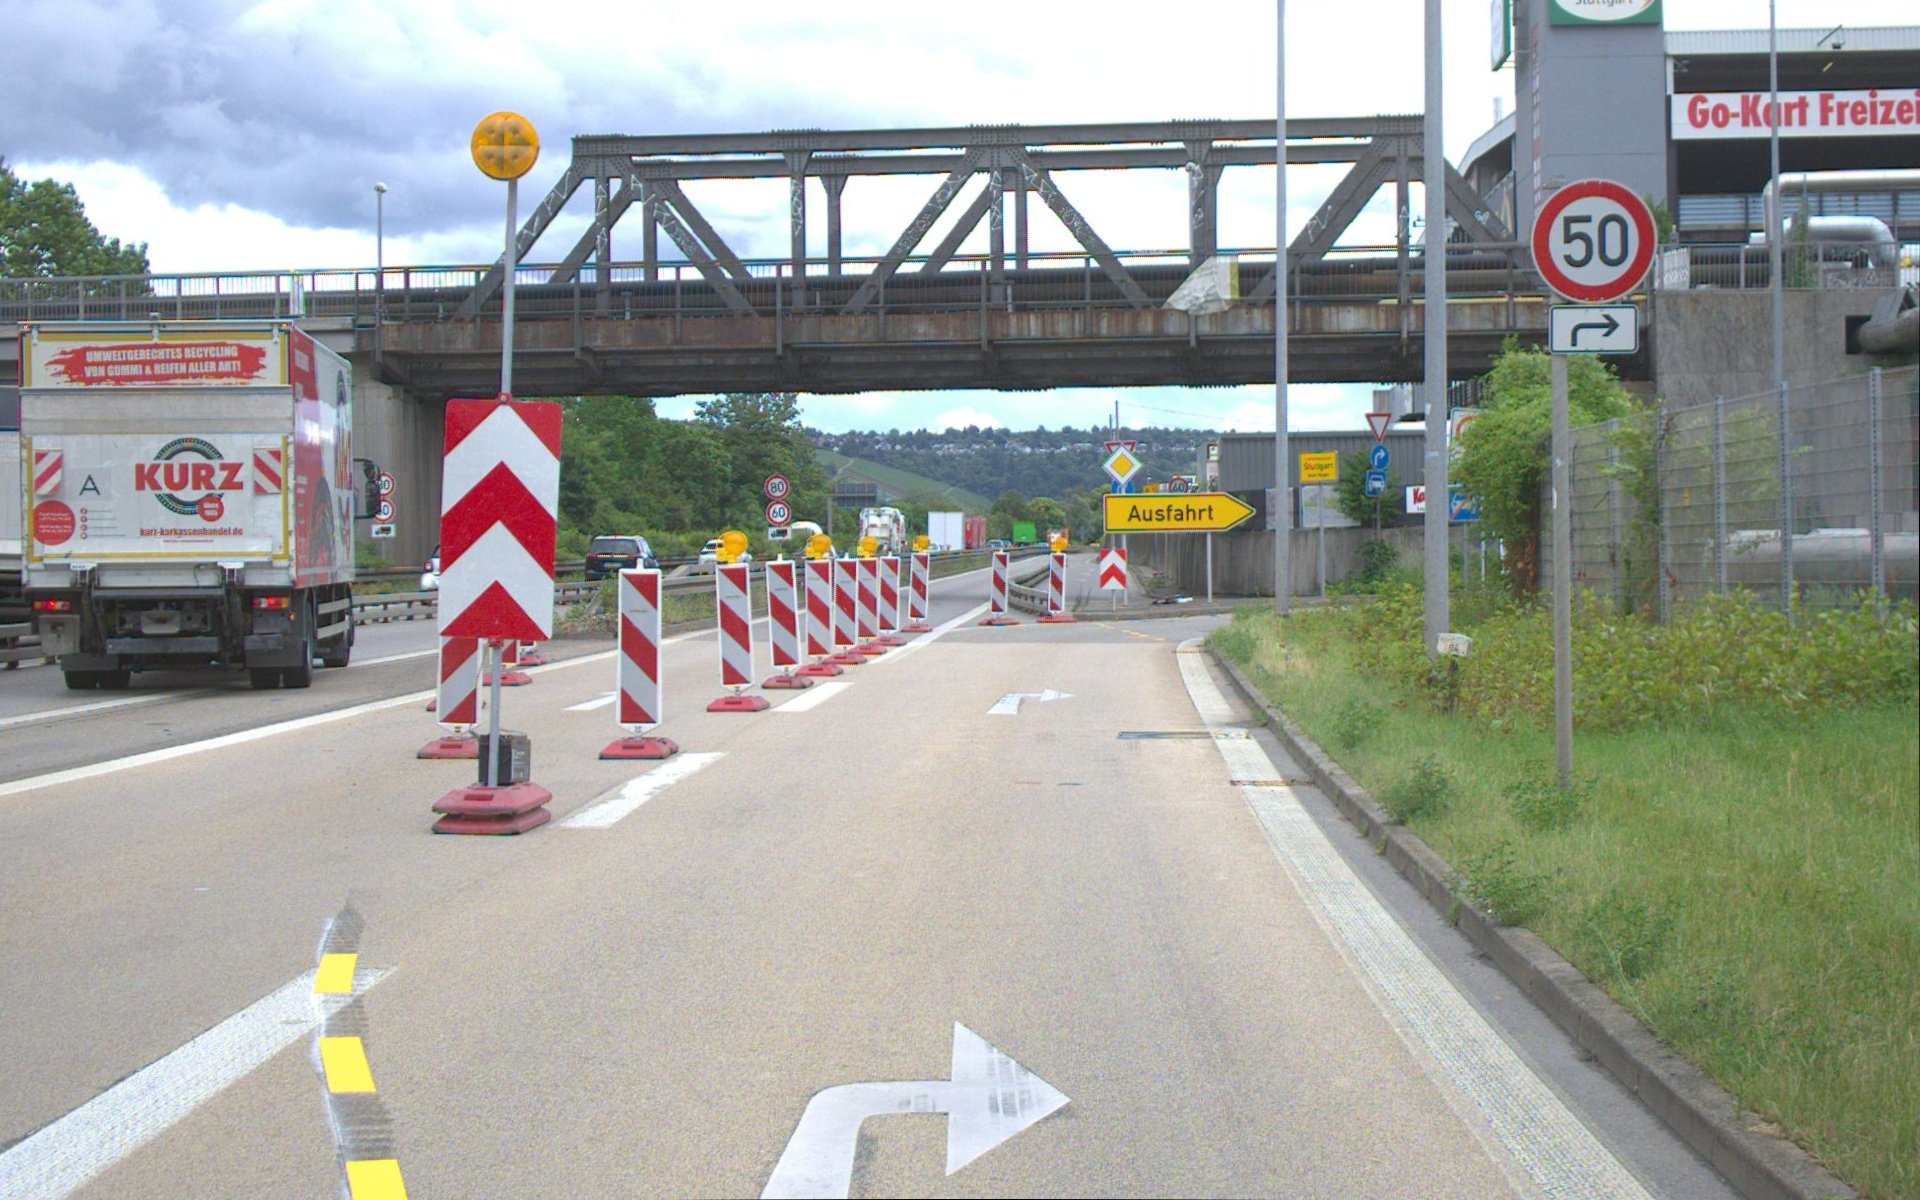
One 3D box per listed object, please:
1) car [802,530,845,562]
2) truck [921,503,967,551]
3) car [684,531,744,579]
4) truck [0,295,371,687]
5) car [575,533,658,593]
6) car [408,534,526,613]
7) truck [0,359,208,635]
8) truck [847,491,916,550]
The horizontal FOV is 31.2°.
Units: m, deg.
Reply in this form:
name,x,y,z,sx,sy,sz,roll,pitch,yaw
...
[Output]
name,x,y,z,sx,sy,sz,roll,pitch,yaw
car,-6.797,-2.704,171.415,1.779,1.590,3.749,0,1,3
truck,-1.067,-4.950,233.552,2.681,3.129,6.131,1,1,3
car,-9.332,-1.724,130.750,1.993,1.809,4.000,0,1,0
truck,-8.100,-1.087,36.898,2.952,3.617,10.156,0,1,-7
car,-10.378,-1.115,104.024,1.993,1.753,4.000,-1,1,1
car,-11.418,-0.617,79.822,1.993,1.753,4.000,-1,1,2
truck,-12.909,-1.353,48.300,2.994,3.544,7.741,-1,1,0
truck,-4.841,-4.919,213.466,3.720,3.633,7.727,0,1,3
